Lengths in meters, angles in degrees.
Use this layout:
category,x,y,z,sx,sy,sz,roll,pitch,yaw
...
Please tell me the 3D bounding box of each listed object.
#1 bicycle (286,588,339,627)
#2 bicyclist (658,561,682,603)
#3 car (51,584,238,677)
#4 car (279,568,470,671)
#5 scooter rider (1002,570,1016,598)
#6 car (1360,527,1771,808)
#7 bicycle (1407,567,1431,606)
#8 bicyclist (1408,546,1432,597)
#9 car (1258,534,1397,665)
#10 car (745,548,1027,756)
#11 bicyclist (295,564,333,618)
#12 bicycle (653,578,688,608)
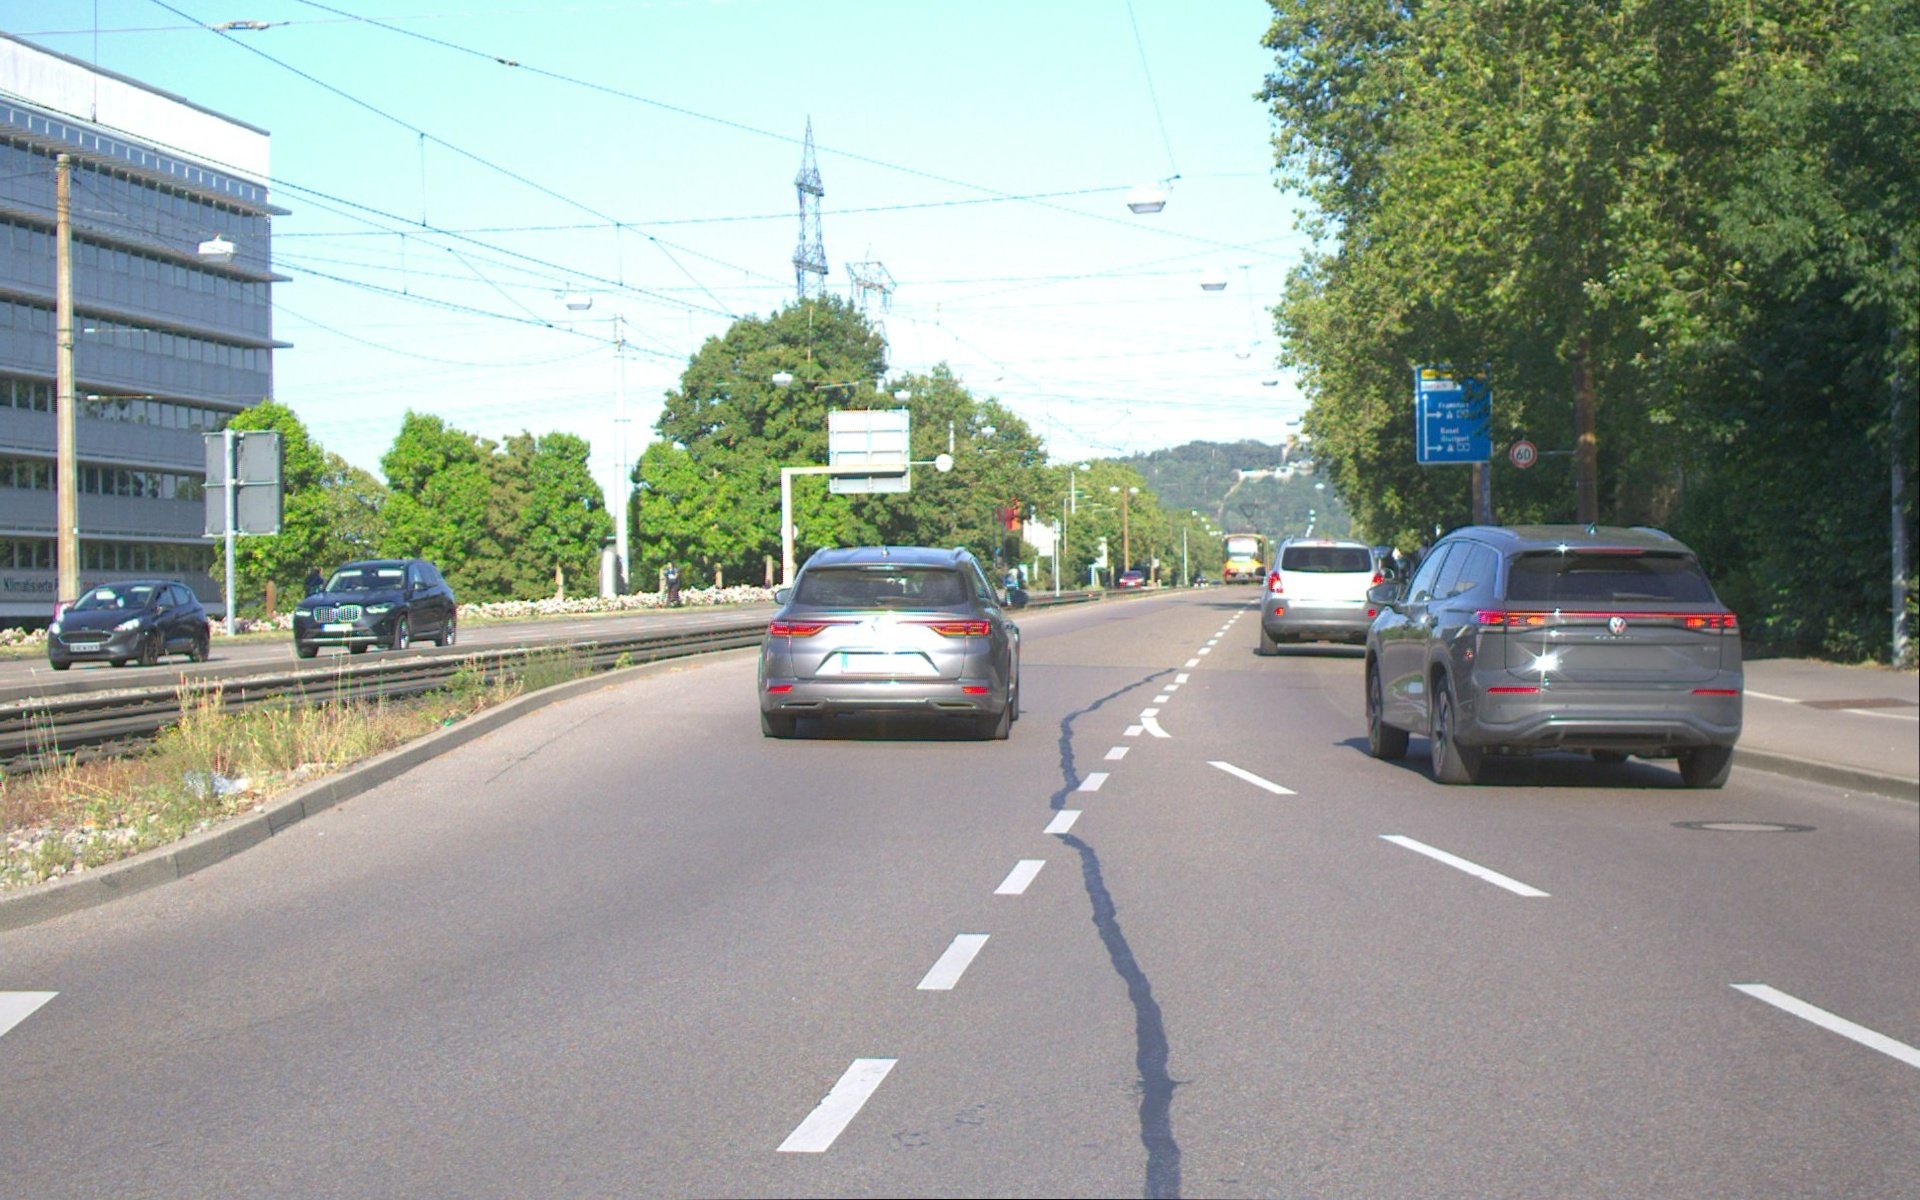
category,x,y,z,sx,sy,sz,roll,pitch,yaw
bicycle,-18.493,0.214,98.217,0.705,1.069,2.026,2,1,14
bicyclist,-11.297,-0.706,133.794,0.661,1.618,0.800,2,1,16
car,-13.829,0.491,58.510,1.857,1.456,4.137,-1,1,5
car,-10.272,0.312,60.705,1.994,1.650,4.657,-1,1,8
scooter rider,3.362,-1.081,234.078,0.682,1.842,1.000,-1,0,14
car,3.869,0.362,22.722,1.844,1.655,4.440,1,1,-1
bicycle,13.634,-0.410,102.155,0.622,1.116,1.812,-2,1,7
bicyclist,13.672,-0.842,102.166,0.686,1.503,0.890,0,1,7
car,5.347,-0.042,50.024,1.884,1.789,3.999,2,1,6
car,-0.489,0.338,27.012,1.866,1.462,4.666,1,1,3
bicyclist,-18.466,-0.254,98.269,0.705,1.507,0.970,2,1,14
bicycle,-11.278,-0.277,133.905,0.661,1.147,2.020,2,1,16
